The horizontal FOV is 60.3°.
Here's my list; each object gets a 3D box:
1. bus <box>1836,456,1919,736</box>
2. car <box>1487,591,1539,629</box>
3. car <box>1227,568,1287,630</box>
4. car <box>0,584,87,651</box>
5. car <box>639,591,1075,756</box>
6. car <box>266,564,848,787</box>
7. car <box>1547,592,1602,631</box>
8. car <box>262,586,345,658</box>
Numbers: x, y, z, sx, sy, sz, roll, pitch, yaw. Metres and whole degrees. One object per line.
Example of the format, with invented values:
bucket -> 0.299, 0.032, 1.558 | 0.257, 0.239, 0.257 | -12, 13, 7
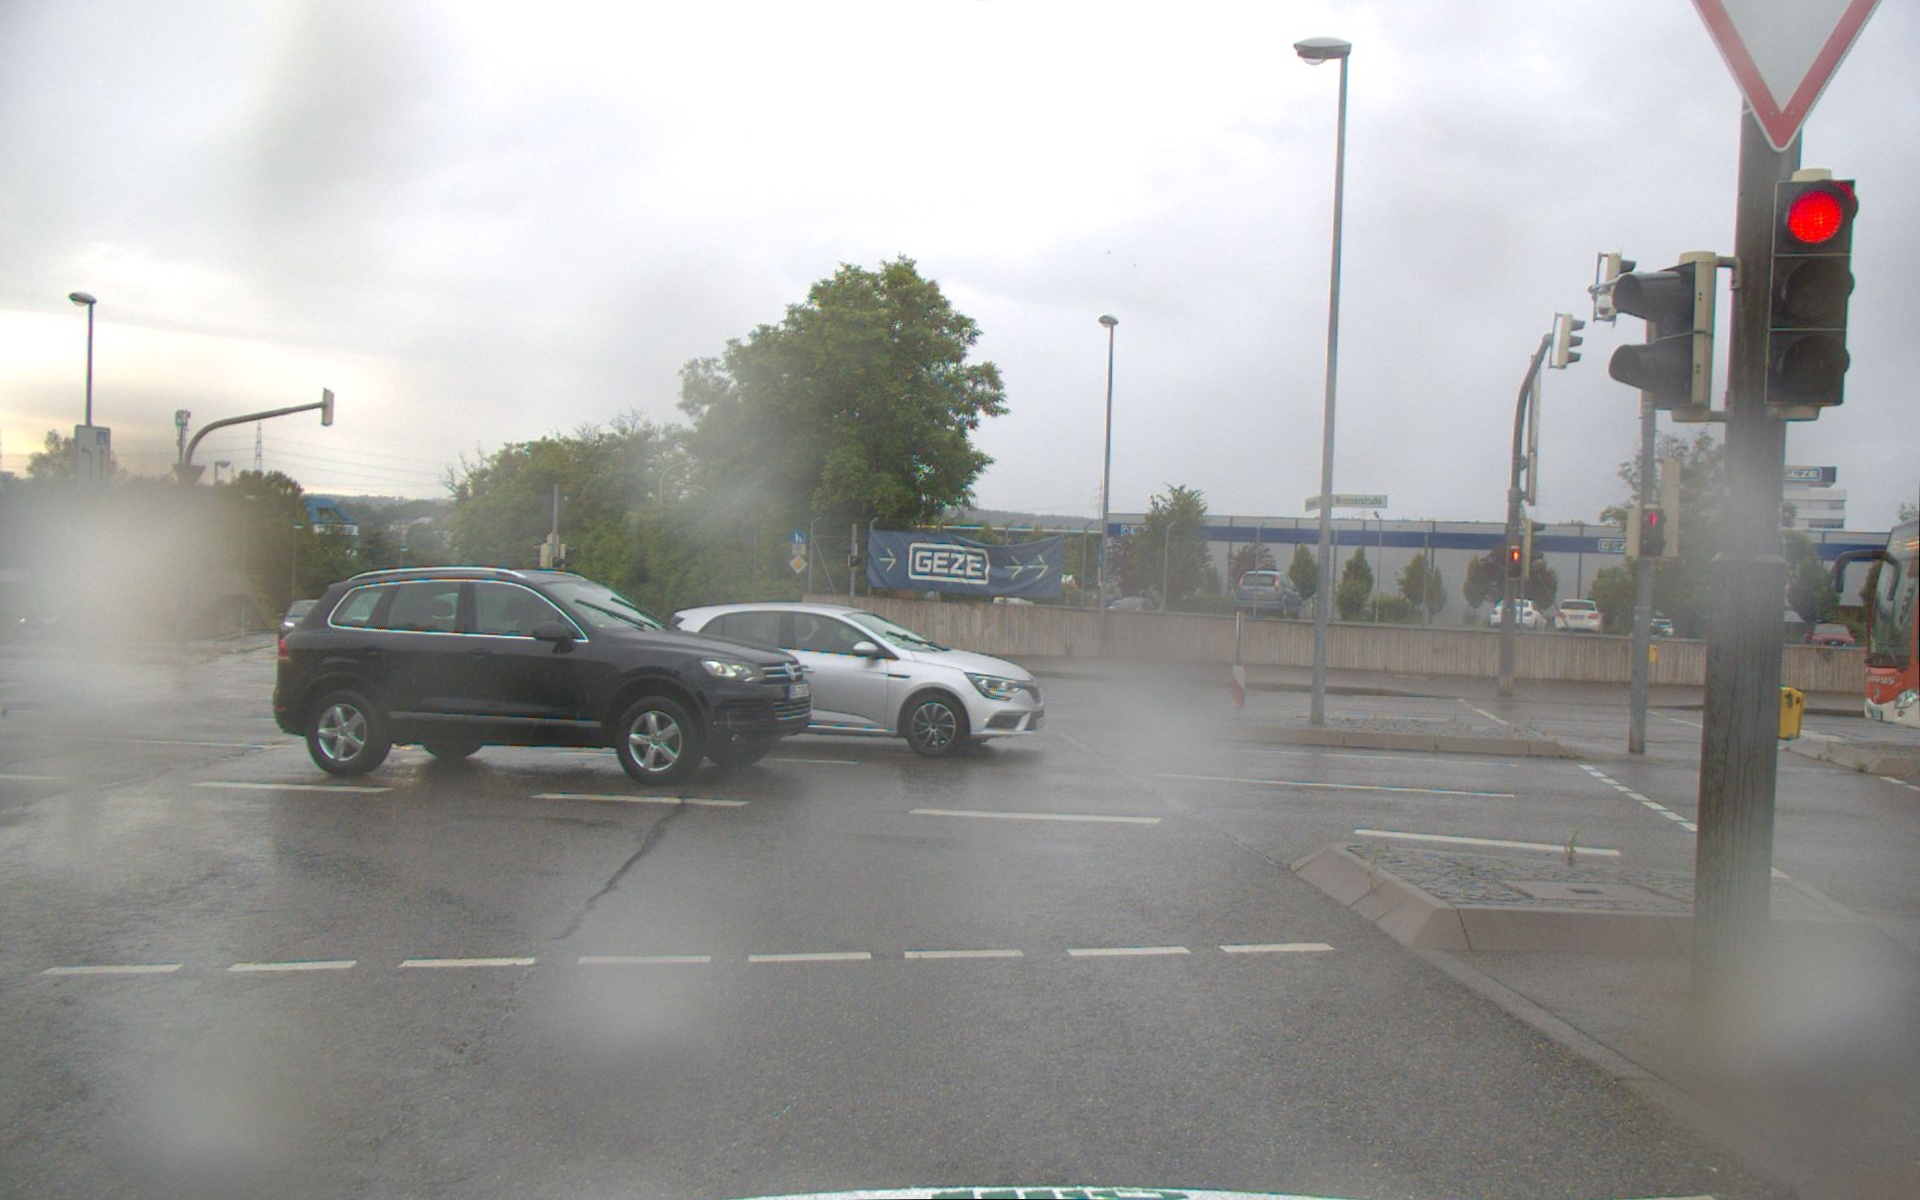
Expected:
bus -> 17.583, 0.219, 19.819 | 12.019, 3.379, 3.076 | 3, 1, 16
car -> 22.955, 0.402, 68.654 | 1.952, 1.504, 4.001 | 2, 1, 19
car -> 10.388, -0.053, 57.850 | 1.951, 2.049, 4.003 | 1, 0, 11
car -> -28.535, 0.512, 51.153 | 1.962, 1.928, 3.981 | 1, 0, -18
car -> -0.998, 0.687, 17.015 | 4.051, 1.441, 1.929 | 2, 0, 14
car -> -3.424, 0.582, 14.373 | 4.498, 1.732, 2.002 | 0, 0, 14
car -> 25.251, 0.471, 68.065 | 1.952, 1.504, 4.001 | 2, 1, 19
car -> -18.927, 0.589, 47.808 | 1.963, 1.928, 3.979 | 1, 0, -19
